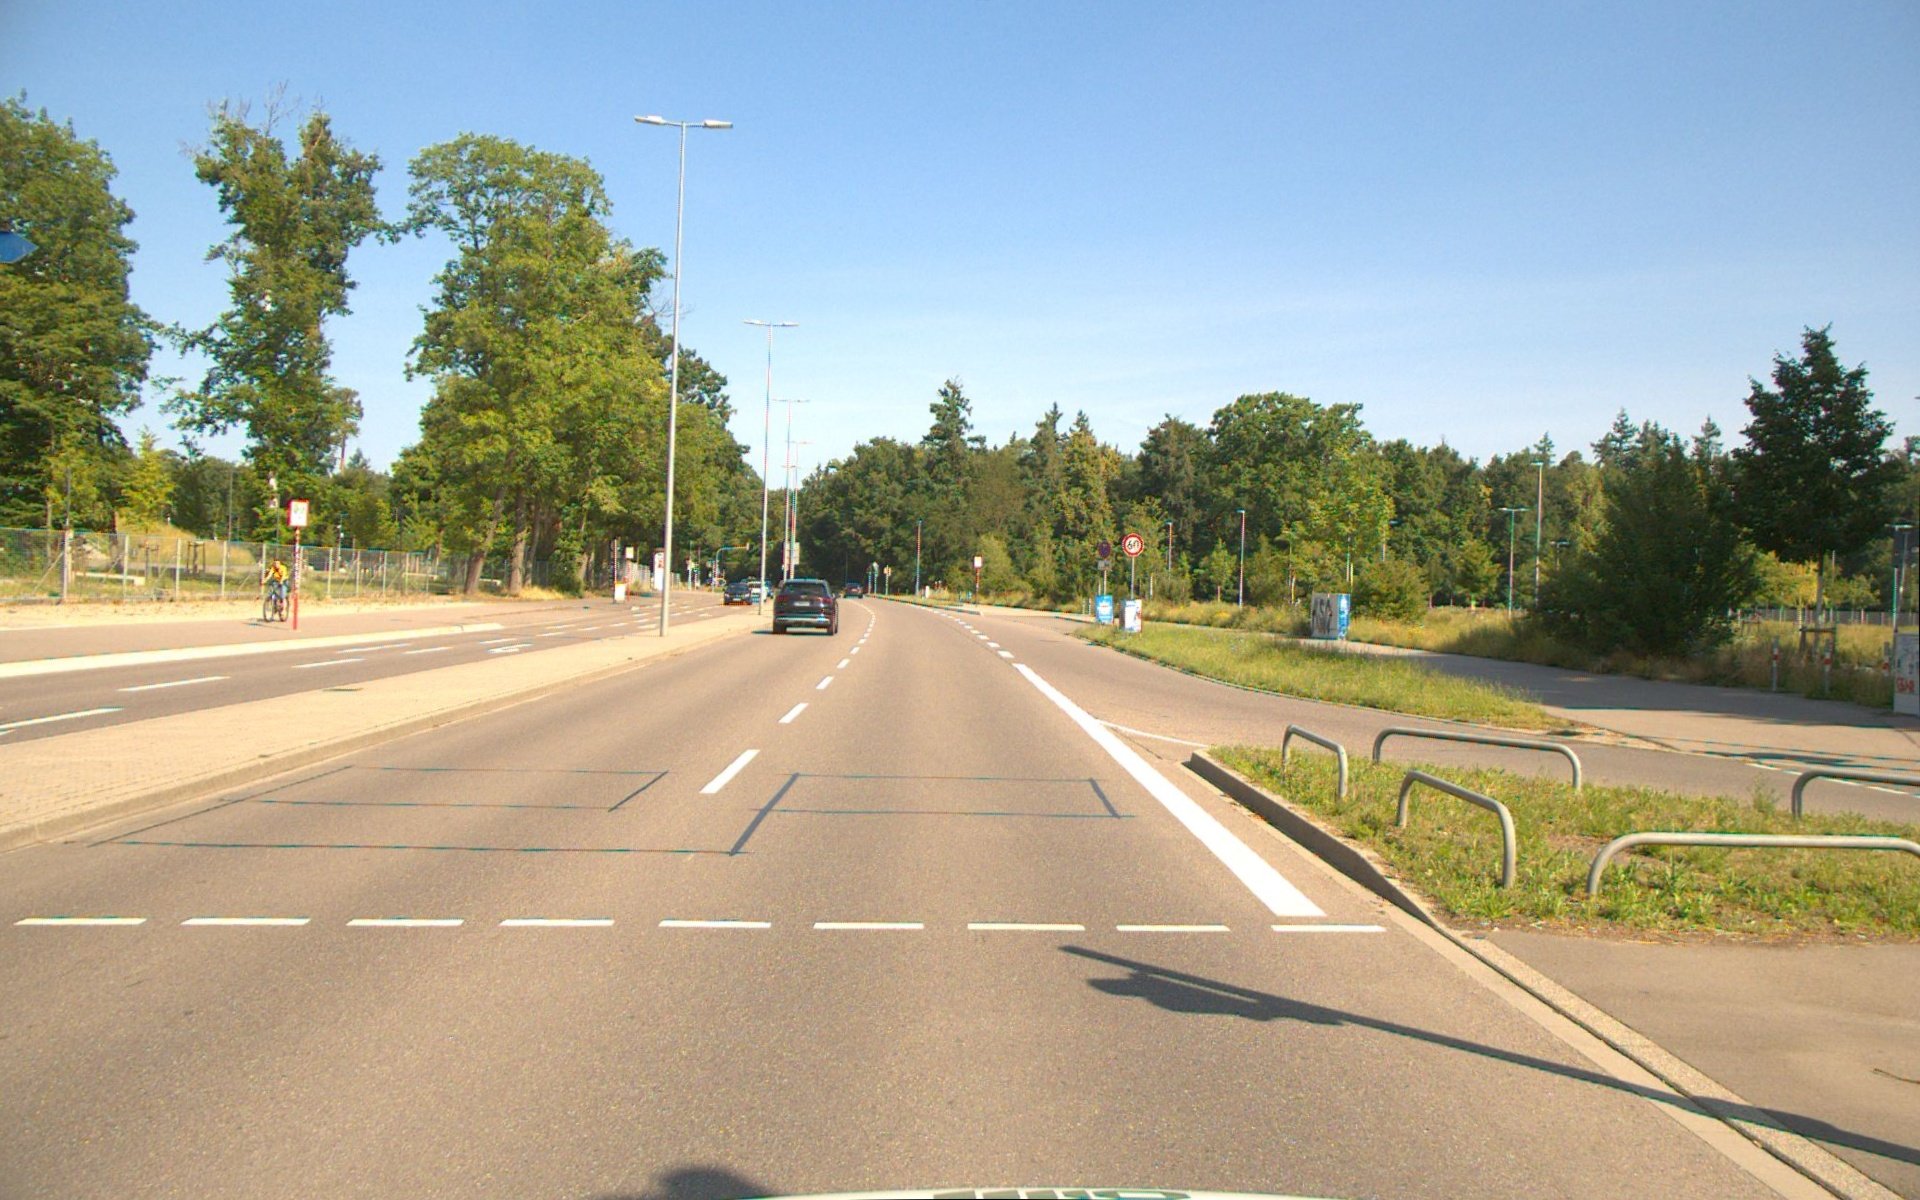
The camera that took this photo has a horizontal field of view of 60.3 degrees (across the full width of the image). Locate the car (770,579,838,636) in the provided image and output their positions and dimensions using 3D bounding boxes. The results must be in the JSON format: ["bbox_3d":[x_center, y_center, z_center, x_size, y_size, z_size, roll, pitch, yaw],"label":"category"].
[{"bbox_3d":[-4.532,0.185,48.574,1.653,1.571,4.148,1,1,-1],"label":"car"}]

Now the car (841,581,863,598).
[{"bbox_3d":[-10.397,-1.022,159.275,1.904,1.445,4.287,2,1,-7],"label":"car"}]

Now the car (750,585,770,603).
[{"bbox_3d":[-17.463,-0.518,144.496,1.720,1.512,3.941,0,1,-7],"label":"car"}]

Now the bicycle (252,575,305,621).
[{"bbox_3d":[-18.148,-0.070,44.089,0.646,1.155,1.878,3,1,-2],"label":"bicycle"}]

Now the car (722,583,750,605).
[{"bbox_3d":[-14.800,-0.409,109.425,1.777,1.412,4.155,0,1,-8],"label":"car"}]

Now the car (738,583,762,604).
[{"bbox_3d":[-15.942,-0.513,125.683,1.591,1.492,3.797,0,1,-5],"label":"car"}]

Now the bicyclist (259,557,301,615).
[{"bbox_3d":[-18.136,-0.373,44.121,0.646,1.493,1.057,3,1,-2],"label":"bicyclist"}]
